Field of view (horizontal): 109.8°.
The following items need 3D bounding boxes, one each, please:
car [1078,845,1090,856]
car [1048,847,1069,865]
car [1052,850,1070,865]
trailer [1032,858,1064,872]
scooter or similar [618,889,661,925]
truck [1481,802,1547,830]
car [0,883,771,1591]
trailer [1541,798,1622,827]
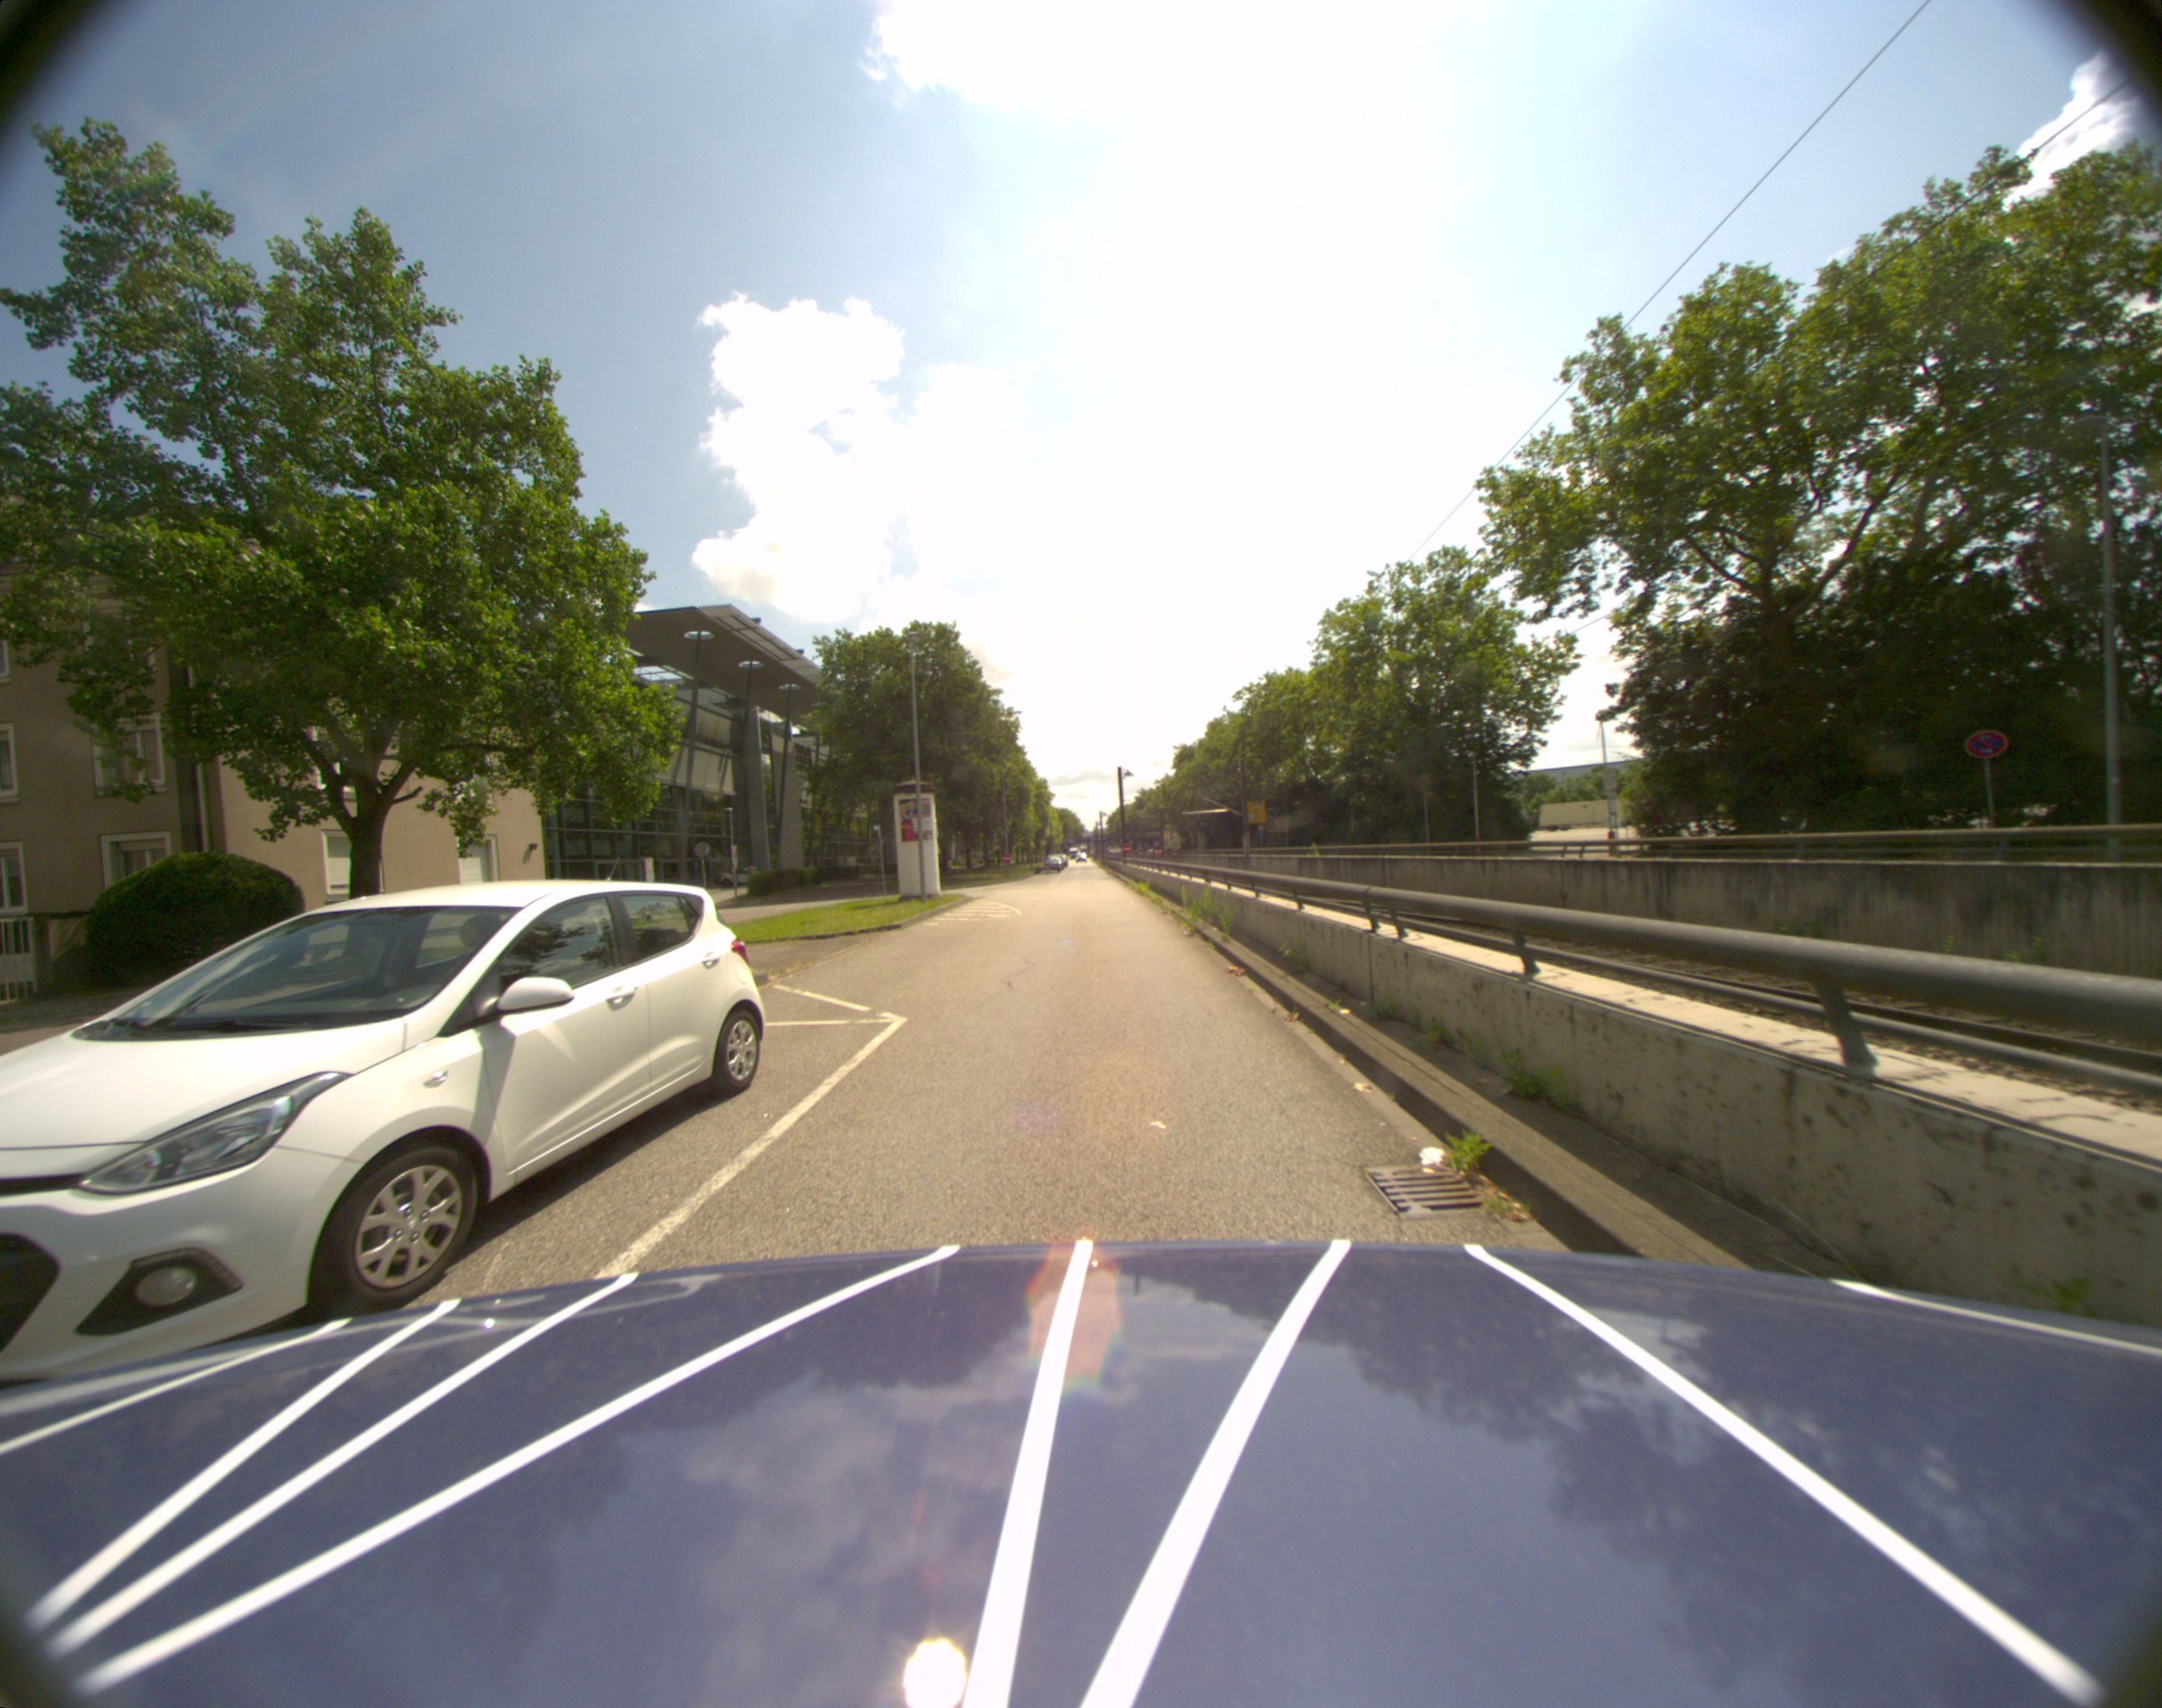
[{"bbox_3d":[0.587,-0.553,131.315,1.998,1.711,4.304,-3,1,1],"label":"car"},{"bbox_3d":[-2.249,0.176,75.960,1.809,1.496,3.734,-4,1,1],"label":"car"},{"bbox_3d":[-2.371,0.400,91.258,1.809,1.496,3.734,-4,1,1],"label":"car"},{"bbox_3d":[-2.725,0.933,64.370,2.303,0.823,6.819,-4,1,1],"label":"trailer"},{"bbox_3d":[-17.695,2.126,30.457,1.441,1.296,0.548,-4,2,16],"label":"scooter or similar"},{"bbox_3d":[63.264,-5.551,111.083,7.704,3.640,3.065,-2,2,44],"label":"truck"},{"bbox_3d":[-3.242,1.025,3.702,1.711,1.471,3.789,-3,1,2],"label":"car"},{"bbox_3d":[69.247,-5.698,105.326,8.870,3.478,2.873,-2,2,44],"label":"trailer"}]
